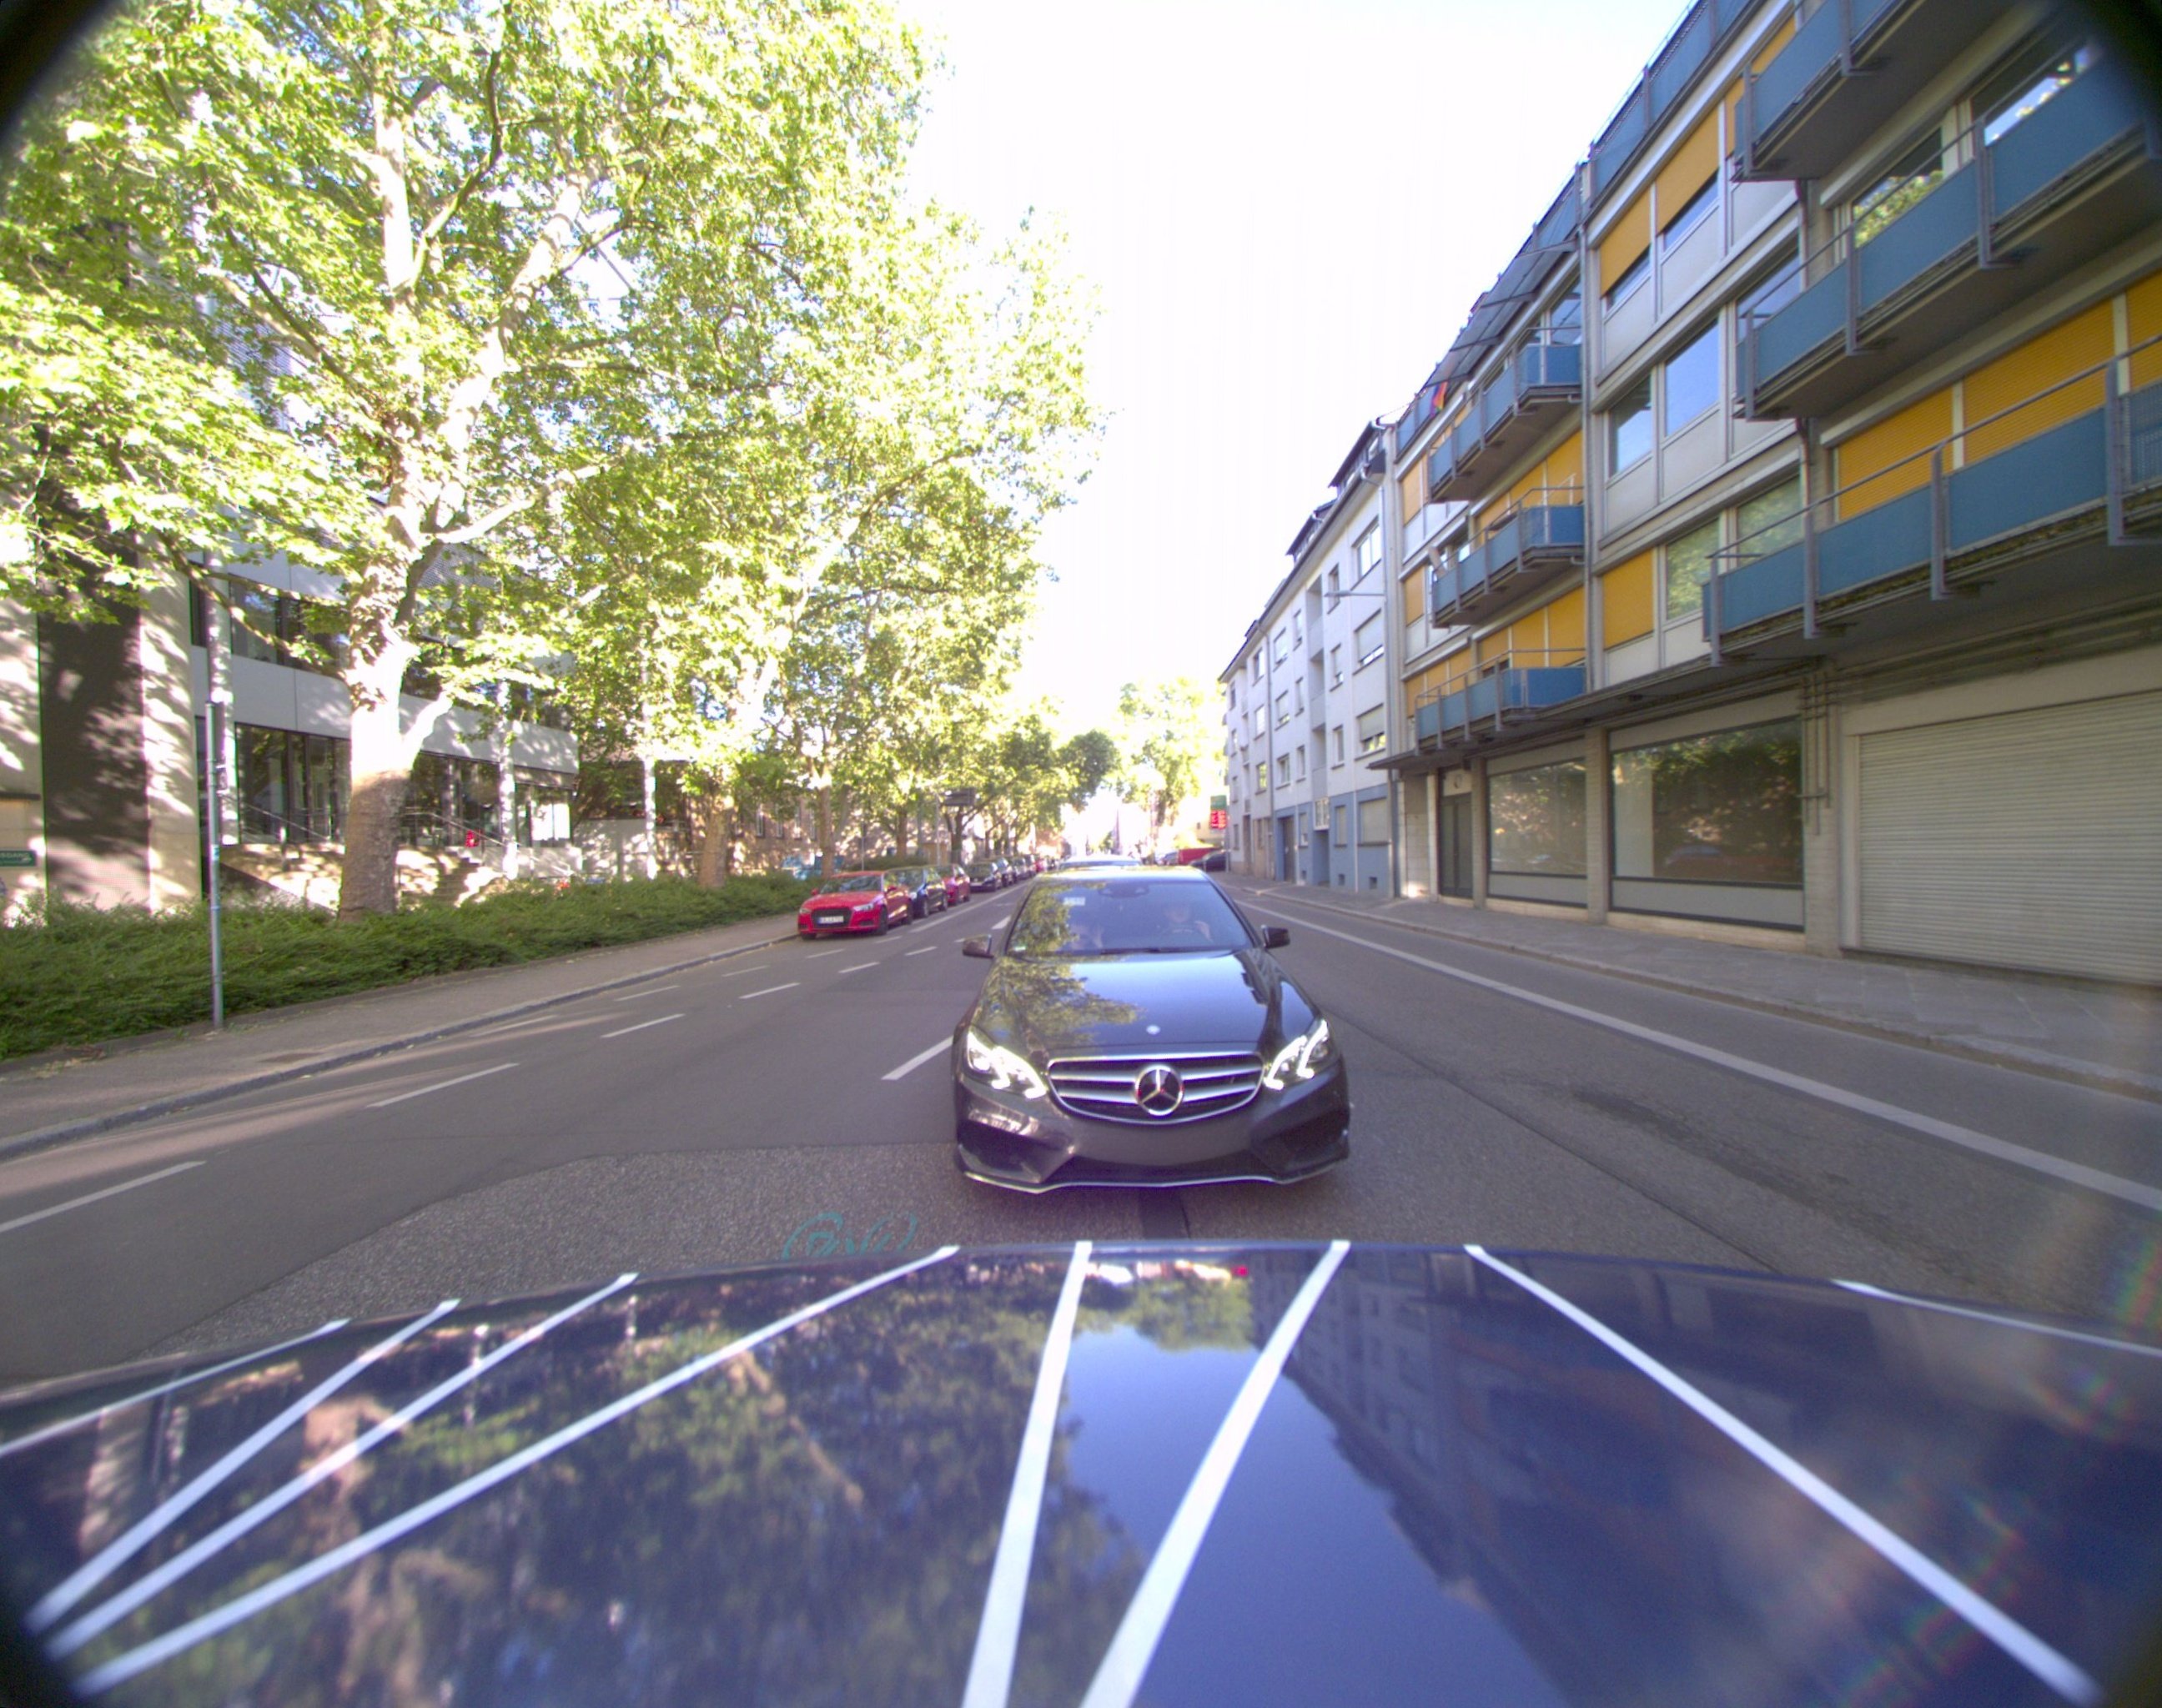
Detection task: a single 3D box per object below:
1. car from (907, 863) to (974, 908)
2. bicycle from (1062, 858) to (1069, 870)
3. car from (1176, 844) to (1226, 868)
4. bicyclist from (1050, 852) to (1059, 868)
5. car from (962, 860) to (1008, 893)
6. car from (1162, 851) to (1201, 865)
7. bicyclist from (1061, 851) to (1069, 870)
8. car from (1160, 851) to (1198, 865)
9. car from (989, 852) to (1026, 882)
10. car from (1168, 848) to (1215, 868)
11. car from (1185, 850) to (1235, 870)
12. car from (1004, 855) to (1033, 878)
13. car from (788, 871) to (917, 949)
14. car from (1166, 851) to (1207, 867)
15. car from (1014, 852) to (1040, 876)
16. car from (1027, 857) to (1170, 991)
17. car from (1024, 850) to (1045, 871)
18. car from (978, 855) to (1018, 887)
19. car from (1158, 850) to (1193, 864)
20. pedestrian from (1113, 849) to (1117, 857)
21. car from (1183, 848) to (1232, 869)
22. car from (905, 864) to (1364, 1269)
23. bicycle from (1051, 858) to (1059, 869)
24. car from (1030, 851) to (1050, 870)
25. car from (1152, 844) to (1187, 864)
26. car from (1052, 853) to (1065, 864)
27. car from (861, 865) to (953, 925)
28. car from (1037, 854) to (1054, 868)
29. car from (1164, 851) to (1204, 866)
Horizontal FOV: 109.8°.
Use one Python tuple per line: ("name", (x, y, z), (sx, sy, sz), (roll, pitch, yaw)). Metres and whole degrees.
("car", (-5.007, 1.099, 27.582), (1.666, 1.426, 3.781), (-2, 0, 0))
("bicycle", (-1.503, 0.947, 73.264), (0.667, 1.093, 1.814), (-2, 1, 0))
("car", (10.076, 0.170, 63.958), (3.905, 1.895, 1.749), (-2, 1, 2))
("bicyclist", (-2.574, 0.621, 74.038), (0.756, 1.512, 0.768), (-2, 1, -1))
("car", (-4.663, 1.053, 37.382), (1.686, 1.443, 4.000), (-2, 0, 0))
("car", (10.522, 0.433, 79.720), (3.905, 1.325, 1.525), (-2, 1, 2))
("bicyclist", (-1.544, 0.627, 73.210), (0.756, 1.714, 0.768), (-2, 1, -1))
("car", (10.531, 0.406, 82.109), (3.905, 1.325, 1.525), (-2, 1, 2))
("car", (-4.592, 0.778, 48.167), (1.819, 1.758, 4.431), (-2, 0, 0))
("car", (9.717, 0.336, 66.753), (3.905, 1.577, 1.603), (-2, 1, 2))
("car", (9.962, 0.462, 58.708), (3.598, 1.401, 1.534), (-2, 0, 2))
("car", (-4.423, 0.882, 54.491), (1.686, 1.552, 3.868), (-2, 0, 0))
("car", (-5.129, 1.193, 17.638), (1.724, 1.412, 4.030), (-4, 0, -1))
("car", (10.375, 0.457, 74.944), (3.905, 1.366, 1.594), (-2, 1, 2))
("car", (-4.215, 0.760, 59.347), (1.663, 1.704, 3.836), (-2, 0, 0))
("car", (0.207, 0.884, 11.637), (1.732, 1.538, 4.293), (-2, 1, 0))
("car", (-4.250, 0.597, 70.205), (1.646, 1.839, 3.836), (-2, 0, 0))
("car", (-4.535, 0.913, 42.041), (1.686, 1.610, 3.836), (-2, 0, 0))
("car", (10.543, 0.339, 84.794), (3.782, 1.432, 1.539), (-2, 1, 2))
("pedestrian", (8.908, -0.292, 199.092), (0.882, 2.108, 0.822), (-1, 1, 32))
("car", (10.131, 0.362, 61.113), (3.668, 1.501, 1.602), (-2, 1, 2))
("car", (0.215, 0.898, 5.261), (1.828, 1.495, 4.293), (-2, 1, 0))
("bicycle", (-2.554, 0.916, 74.068), (0.667, 1.093, 1.814), (-2, 1, 0))
("car", (-4.096, 0.644, 75.996), (1.686, 1.749, 3.836), (-2, 0, 0))
("car", (10.403, 0.031, 89.287), (3.905, 2.164, 1.725), (-2, 1, 2))
("car", (-3.126, 0.660, 106.807), (1.686, 1.475, 3.836), (-2, 0, 0))
("car", (-5.010, 1.133, 22.397), (1.686, 1.458, 4.000), (-3, 0, 0))
("car", (-4.050, 0.754, 87.041), (1.639, 1.493, 3.752), (-2, 0, 0))
("car", (10.406, 0.434, 76.966), (3.905, 1.366, 1.594), (-2, 1, 2))
